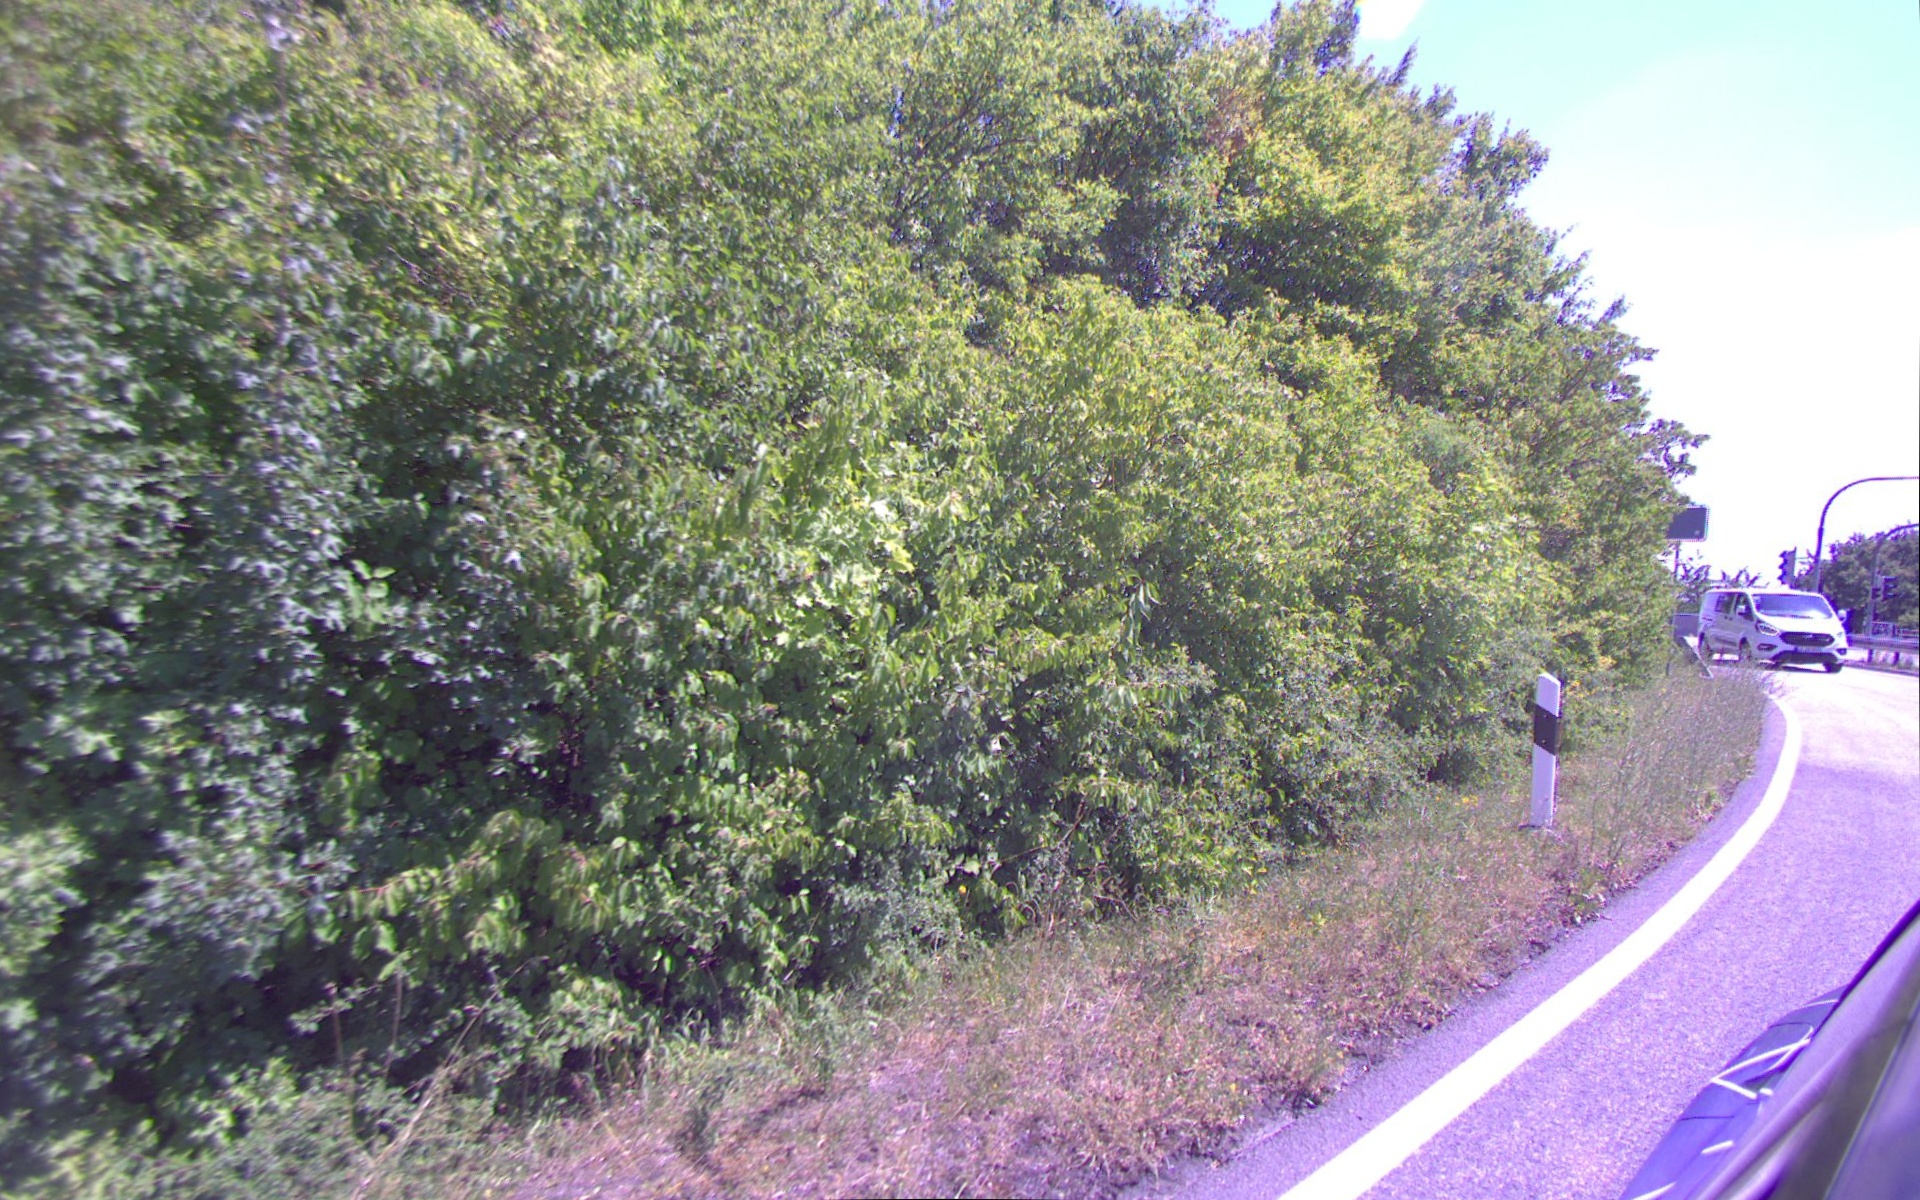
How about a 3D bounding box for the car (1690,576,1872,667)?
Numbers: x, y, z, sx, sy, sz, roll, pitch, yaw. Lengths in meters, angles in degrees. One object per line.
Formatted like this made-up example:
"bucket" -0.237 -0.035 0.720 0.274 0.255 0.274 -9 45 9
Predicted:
"car" 21.443 0.528 26.766 2.007 2.111 5.829 1 0 21
